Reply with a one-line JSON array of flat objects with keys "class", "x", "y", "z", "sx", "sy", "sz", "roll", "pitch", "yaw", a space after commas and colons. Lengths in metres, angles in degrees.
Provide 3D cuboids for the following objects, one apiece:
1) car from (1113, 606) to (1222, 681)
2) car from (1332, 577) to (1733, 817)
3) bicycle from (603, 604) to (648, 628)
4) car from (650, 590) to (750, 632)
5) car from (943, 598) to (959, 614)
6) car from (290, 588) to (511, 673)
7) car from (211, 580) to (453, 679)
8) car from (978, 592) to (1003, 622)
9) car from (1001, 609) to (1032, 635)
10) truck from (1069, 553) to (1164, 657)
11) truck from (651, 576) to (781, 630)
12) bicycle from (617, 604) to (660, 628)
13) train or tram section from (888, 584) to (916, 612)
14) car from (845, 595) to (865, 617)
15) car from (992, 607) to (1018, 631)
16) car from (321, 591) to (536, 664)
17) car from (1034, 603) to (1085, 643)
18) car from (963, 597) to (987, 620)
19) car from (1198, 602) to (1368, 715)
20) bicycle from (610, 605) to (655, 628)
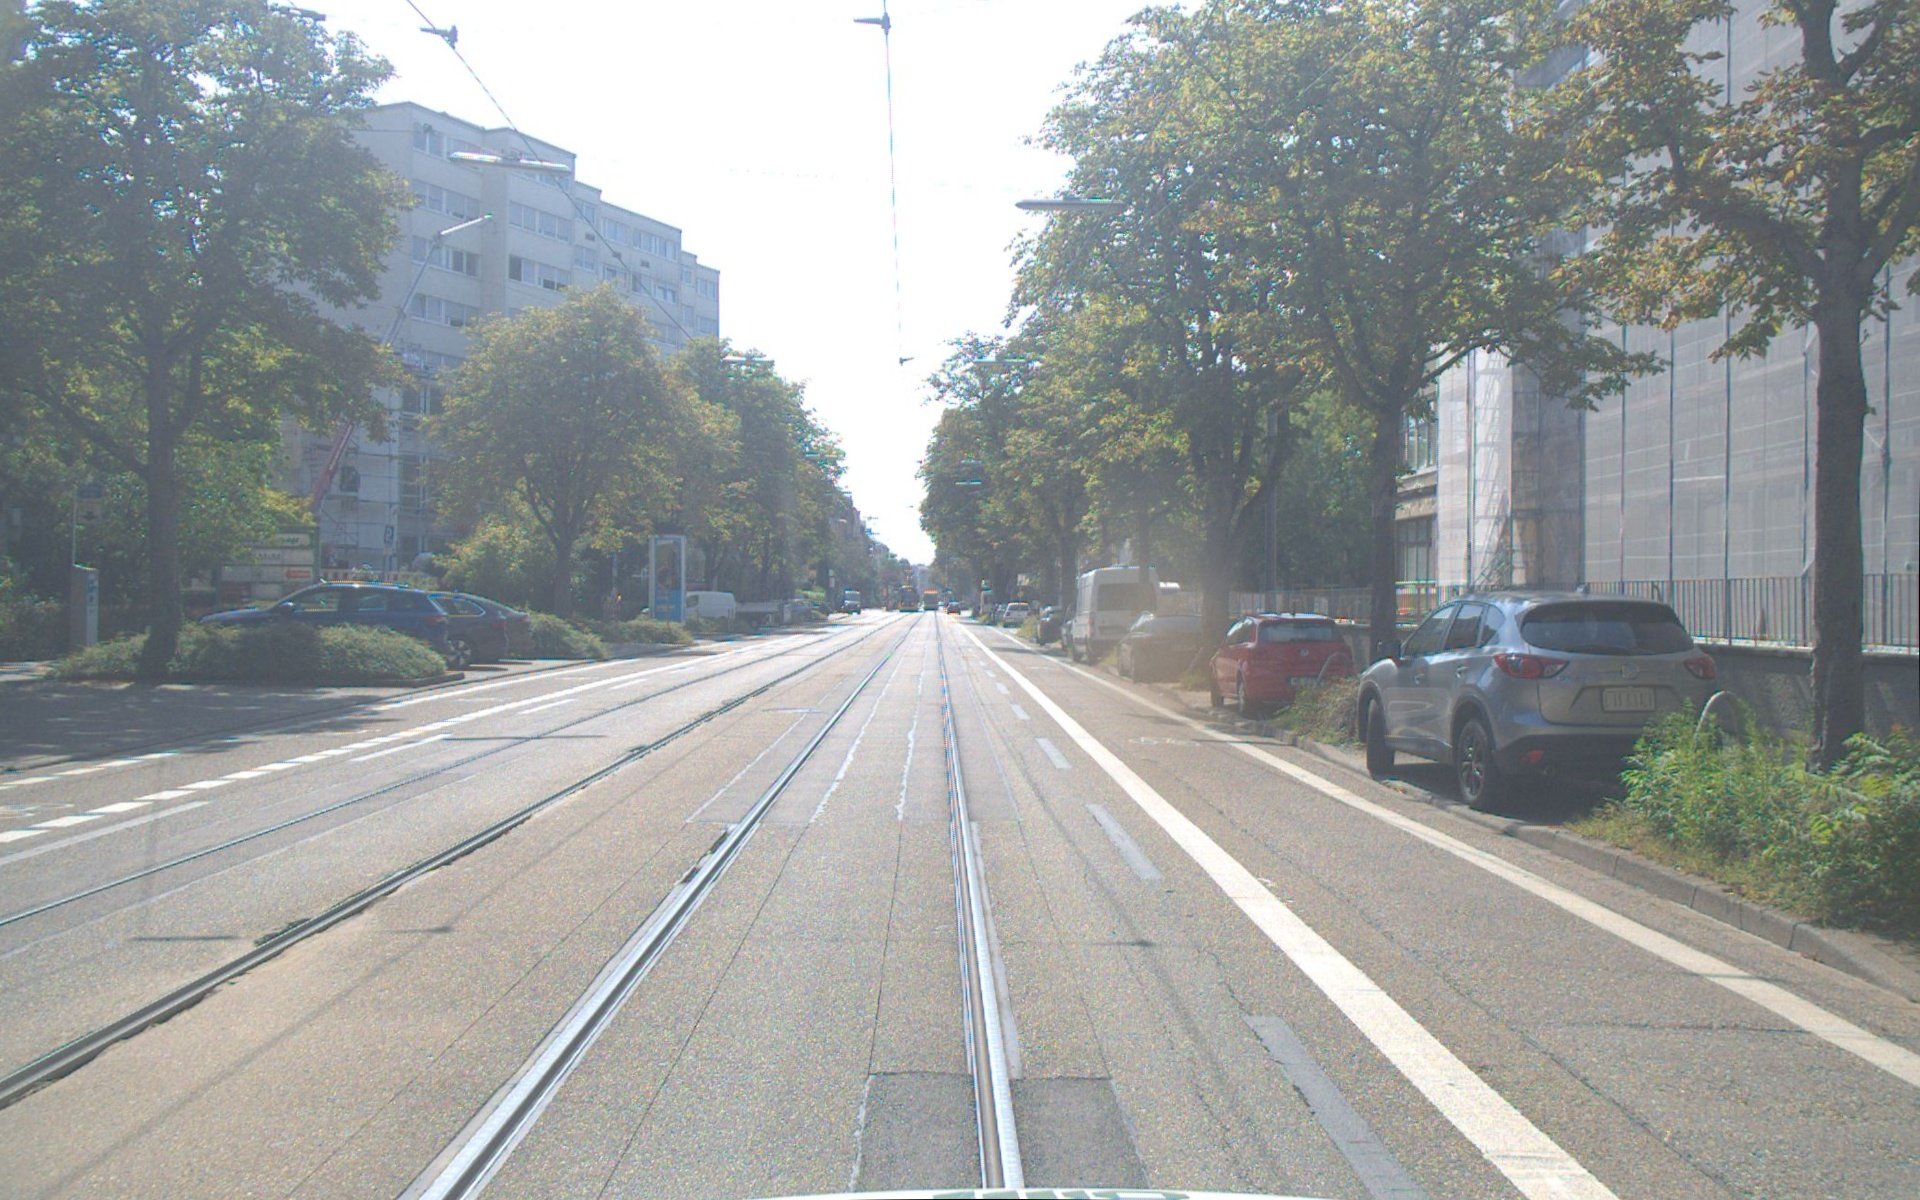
[{"class": "car", "x": 4.312, "y": 0.878, "z": 34.935, "sx": 1.651, "sy": 1.466, "sz": 4.802, "roll": 1, "pitch": -1, "yaw": 0}, {"class": "car", "x": 4.671, "y": 0.709, "z": 14.287, "sx": 1.726, "sy": 1.718, "sz": 4.647, "roll": 1, "pitch": 0, "yaw": -2}, {"class": "bicycle", "x": -17.801, "y": 0.872, "z": 88.039, "sx": 2.289, "sy": 1.189, "sz": 0.622, "roll": 2, "pitch": -1, "yaw": 17}, {"class": "car", "x": -11.701, "y": 0.492, "z": 74.696, "sx": 4.253, "sy": 1.803, "sz": 1.796, "roll": 0, "pitch": 0, "yaw": -44}, {"class": "car", "x": -1.102, "y": 0.765, "z": 206.077, "sx": 1.953, "sy": 1.832, "sz": 3.999, "roll": 1, "pitch": -1, "yaw": -1}, {"class": "car", "x": -11.106, "y": 0.592, "z": 32.856, "sx": 3.941, "sy": 1.597, "sz": 1.764, "roll": 1, "pitch": 0, "yaw": -28}, {"class": "car", "x": -11.291, "y": 0.518, "z": 29.790, "sx": 3.935, "sy": 1.677, "sz": 1.828, "roll": 1, "pitch": 0, "yaw": -24}, {"class": "car", "x": 2.565, "y": 0.598, "z": 139.389, "sx": 1.953, "sy": 2.407, "sz": 3.999, "roll": 1, "pitch": -1, "yaw": -1}, {"class": "car", "x": 3.346, "y": 1.278, "z": 97.907, "sx": 1.754, "sy": 1.471, "sz": 3.733, "roll": -1, "pitch": -1, "yaw": 2}, {"class": "truck", "x": 4.194, "y": 0.147, "z": 45.162, "sx": 1.878, "sy": 2.644, "sz": 5.590, "roll": 1, "pitch": -1, "yaw": -2}, {"class": "truck", "x": -11.538, "y": 0.137, "z": 78.475, "sx": 5.913, "sy": 2.477, "sz": 2.119, "roll": 0, "pitch": -1, "yaw": -40}, {"class": "bicycle", "x": -17.411, "y": 0.877, "z": 89.566, "sx": 2.289, "sy": 1.189, "sz": 0.562, "roll": 2, "pitch": -1, "yaw": 16}, {"class": "train or tram section", "x": -7.981, "y": -0.287, "z": 228.113, "sx": 3.425, "sy": 3.769, "sz": 12.411, "roll": 1, "pitch": 0, "yaw": 0}, {"class": "car", "x": -12.043, "y": 0.702, "z": 188.813, "sx": 2.198, "sy": 2.484, "sz": 3.996, "roll": 1, "pitch": -1, "yaw": -4}, {"class": "car", "x": 3.004, "y": 1.294, "z": 111.485, "sx": 1.607, "sy": 1.538, "sz": 3.640, "roll": 1, "pitch": -1, "yaw": -1}, {"class": "car", "x": -11.565, "y": 0.595, "z": 36.041, "sx": 4.231, "sy": 1.523, "sz": 1.765, "roll": 1, "pitch": 0, "yaw": -27}, {"class": "car", "x": 3.840, "y": 0.885, "z": 64.461, "sx": 1.640, "sy": 1.483, "sz": 4.663, "roll": 0, "pitch": 0, "yaw": -1}, {"class": "car", "x": 1.475, "y": 0.813, "z": 166.222, "sx": 1.955, "sy": 2.273, "sz": 3.995, "roll": 0, "pitch": 0, "yaw": -6}, {"class": "car", "x": 4.751, "y": 0.826, "z": 24.844, "sx": 1.651, "sy": 1.526, "sz": 4.130, "roll": 1, "pitch": -1, "yaw": -1}, {"class": "bicycle", "x": -17.583, "y": 0.886, "z": 88.855, "sx": 2.289, "sy": 1.189, "sz": 0.622, "roll": 2, "pitch": -1, "yaw": 16}]
